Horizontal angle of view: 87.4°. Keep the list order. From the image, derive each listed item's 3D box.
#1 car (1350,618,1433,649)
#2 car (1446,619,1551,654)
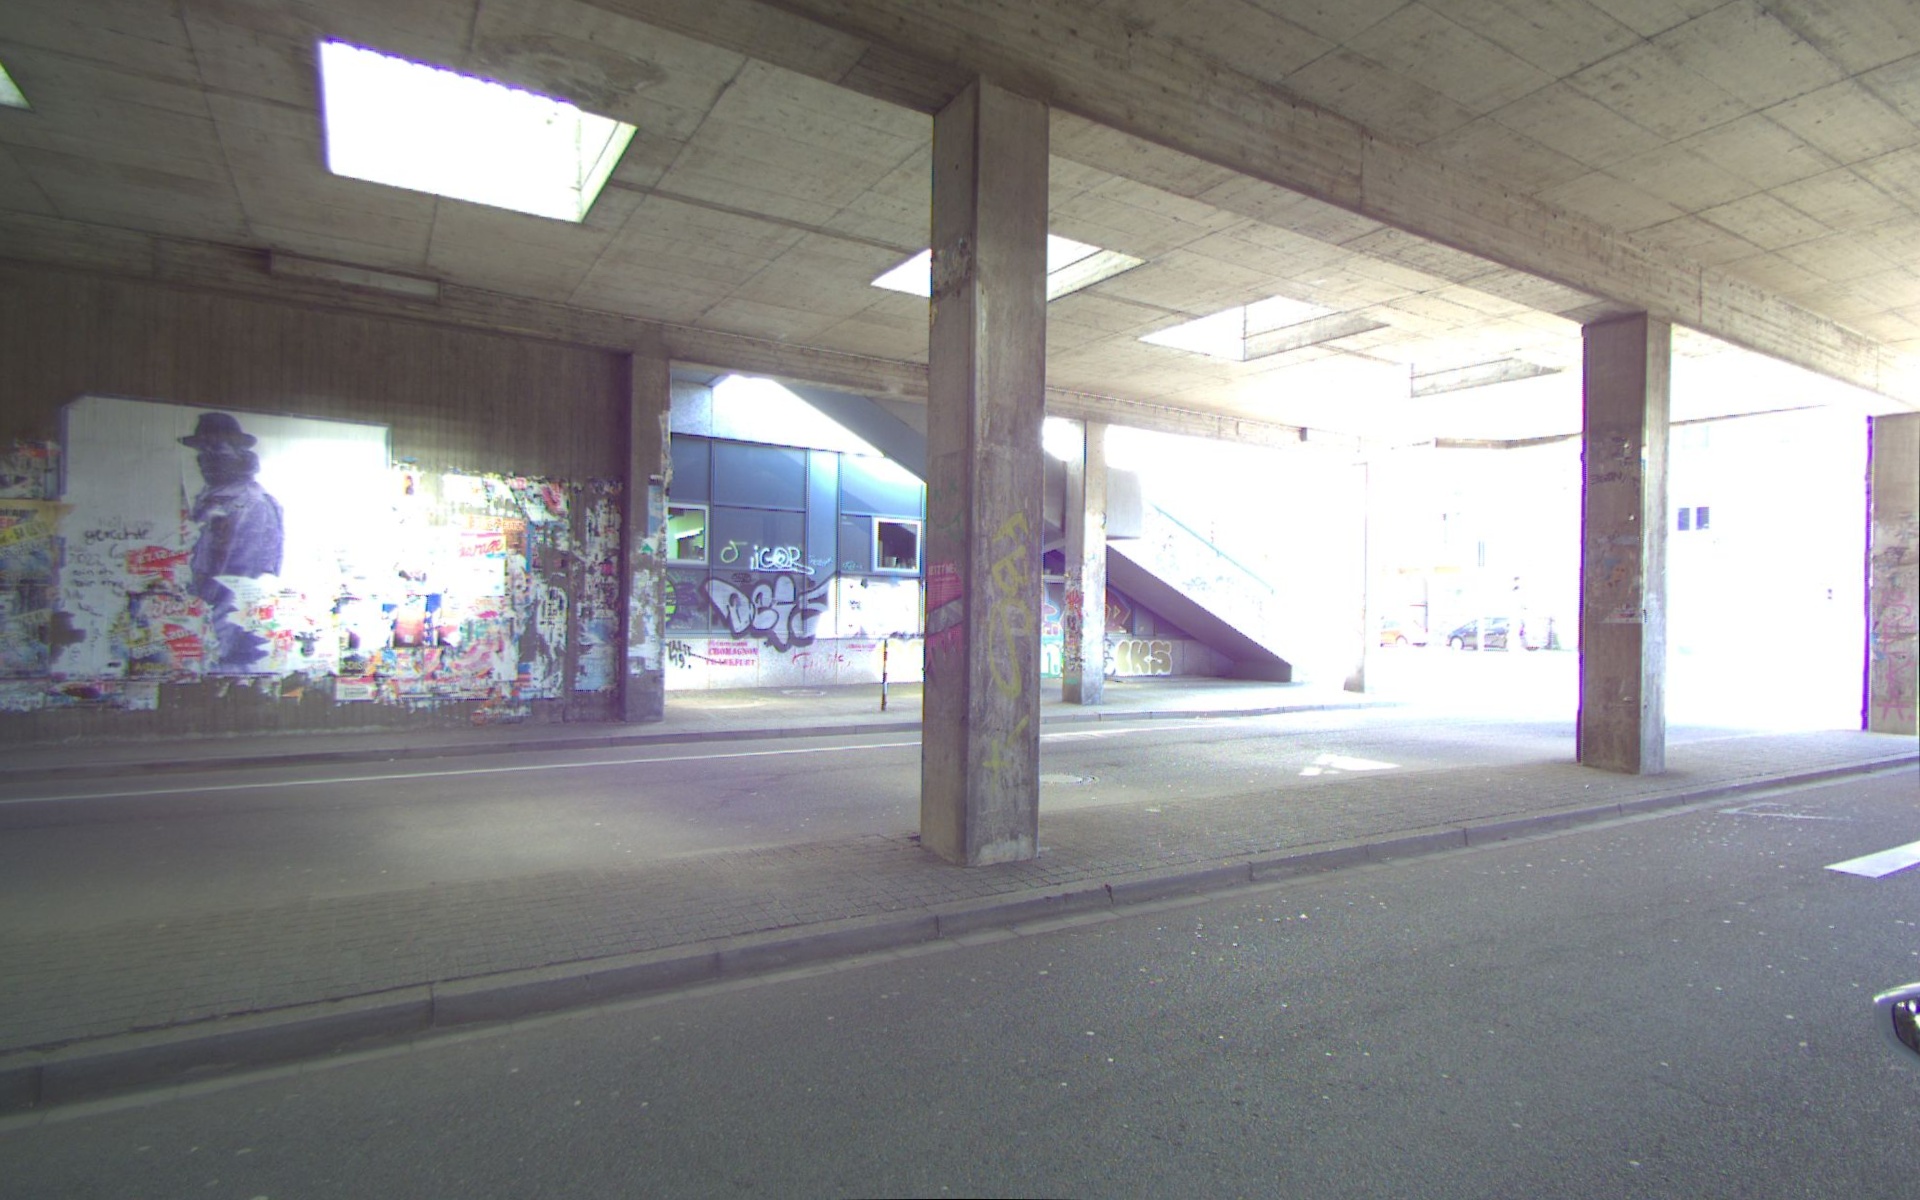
[{"bbox_3d":[22.551,1.727,52.606,1.730,1.495,3.741,2,-1,-31],"label":"car"},{"bbox_3d":[25.464,1.709,47.650,1.718,1.495,4.089,2,-1,-31],"label":"car"}]
